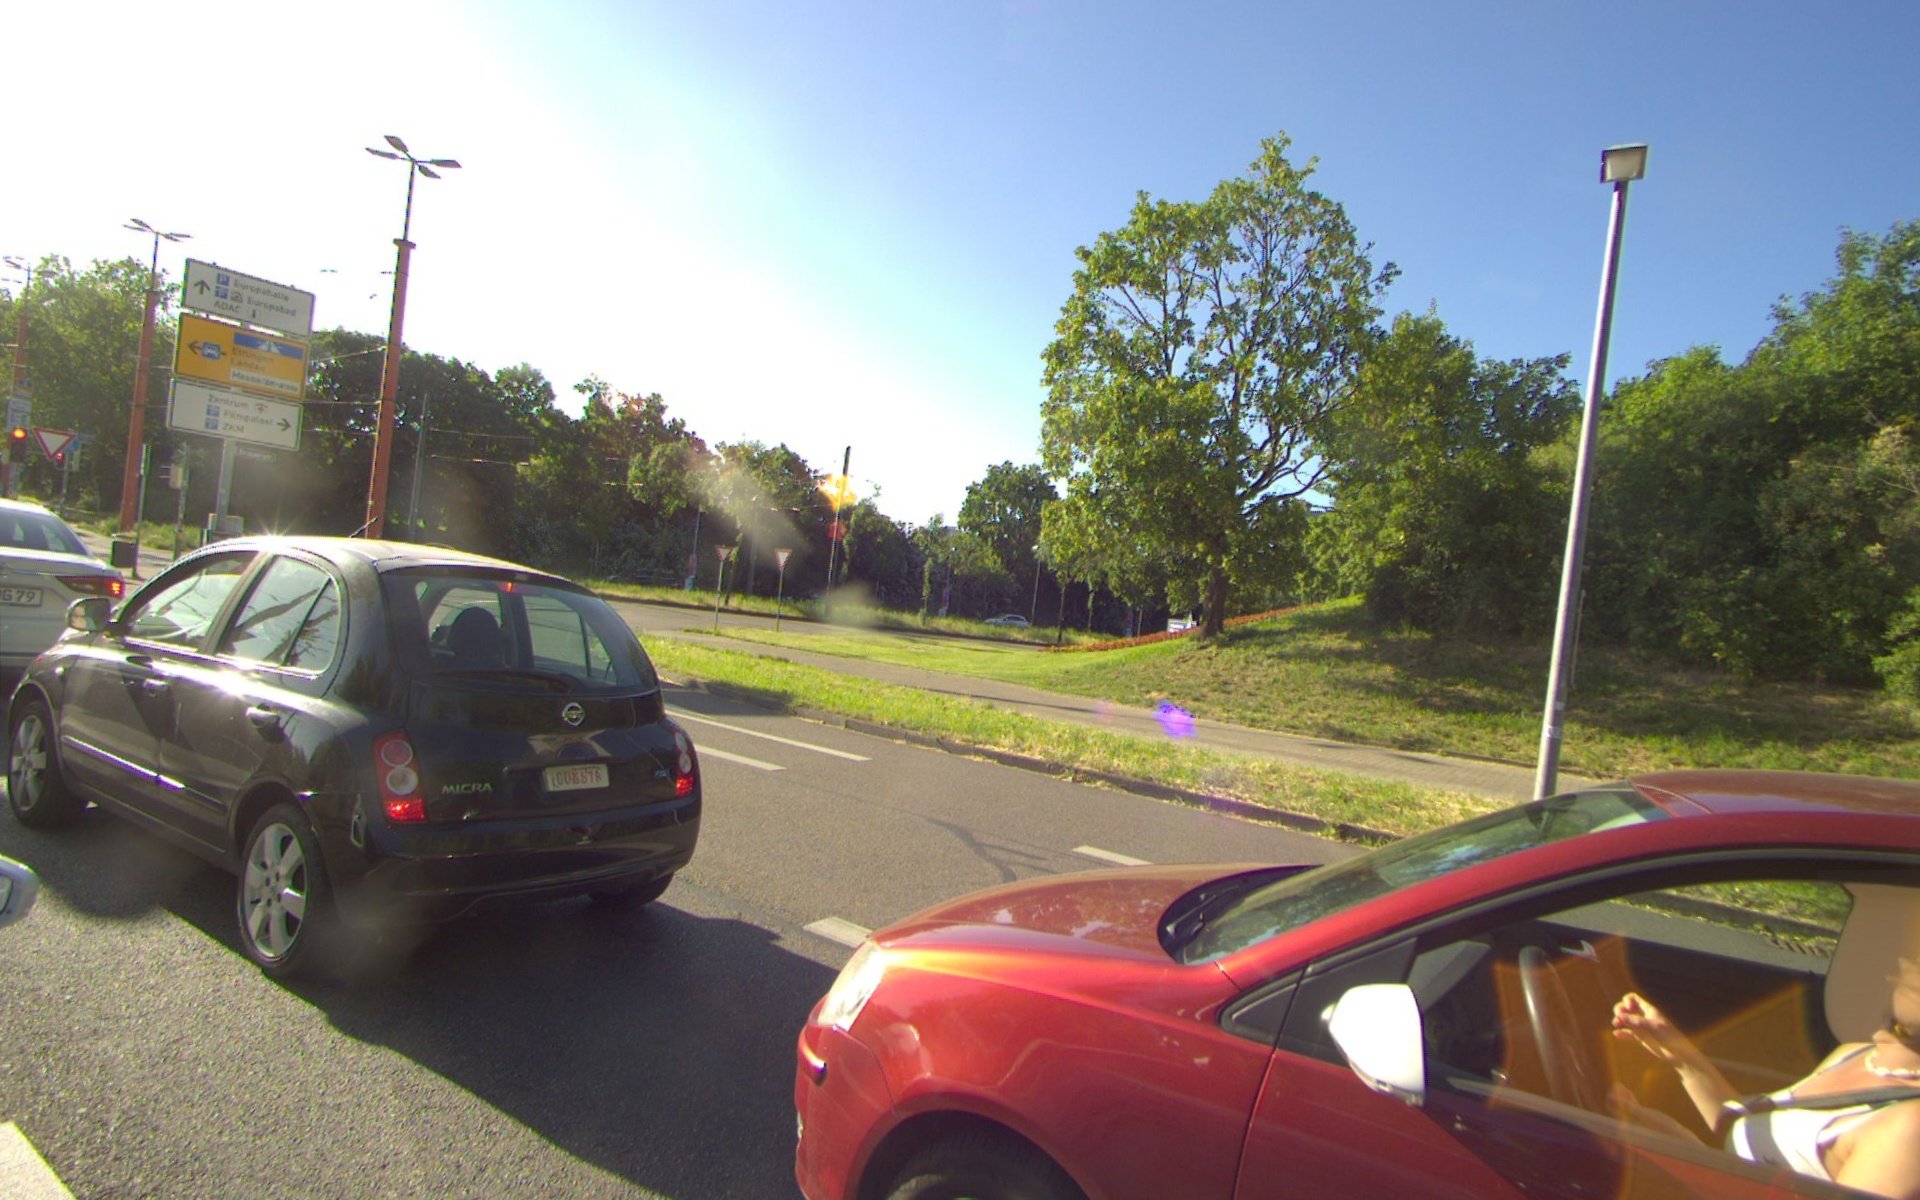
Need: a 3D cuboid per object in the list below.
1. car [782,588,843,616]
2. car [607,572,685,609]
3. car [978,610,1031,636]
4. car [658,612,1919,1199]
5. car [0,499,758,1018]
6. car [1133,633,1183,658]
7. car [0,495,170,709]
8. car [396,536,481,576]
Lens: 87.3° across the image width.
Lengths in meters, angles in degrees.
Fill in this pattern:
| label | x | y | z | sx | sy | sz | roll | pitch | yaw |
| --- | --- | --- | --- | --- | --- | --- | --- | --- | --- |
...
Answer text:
| label | x | y | z | sx | sy | sz | roll | pitch | yaw |
| --- | --- | --- | --- | --- | --- | --- | --- | --- | --- |
| car | -10.520 | 0.161 | 71.899 | 3.886 | 1.474 | 1.644 | 8 | -1 | -31 |
| car | -19.309 | -0.569 | 61.937 | 4.176 | 1.701 | 1.643 | 8 | -1 | -32 |
| car | 3.520 | 1.829 | 79.629 | 3.888 | 1.474 | 1.643 | 8 | -1 | -32 |
| car | 1.346 | 1.002 | 1.867 | 3.629 | 1.477 | 1.579 | 6 | -2 | 32 |
| car | -2.797 | 0.467 | 4.623 | 3.385 | 1.457 | 1.579 | 6 | -2 | 32 |
| car | 16.237 | 3.769 | 82.630 | 3.764 | 1.528 | 1.644 | 8 | -1 | -31 |
| car | -8.370 | -0.175 | 8.077 | 4.256 | 1.457 | 1.802 | 6 | -2 | 33 |
| car | -30.660 | -2.567 | 59.143 | 4.176 | 1.701 | 1.643 | 8 | -1 | -32 |
